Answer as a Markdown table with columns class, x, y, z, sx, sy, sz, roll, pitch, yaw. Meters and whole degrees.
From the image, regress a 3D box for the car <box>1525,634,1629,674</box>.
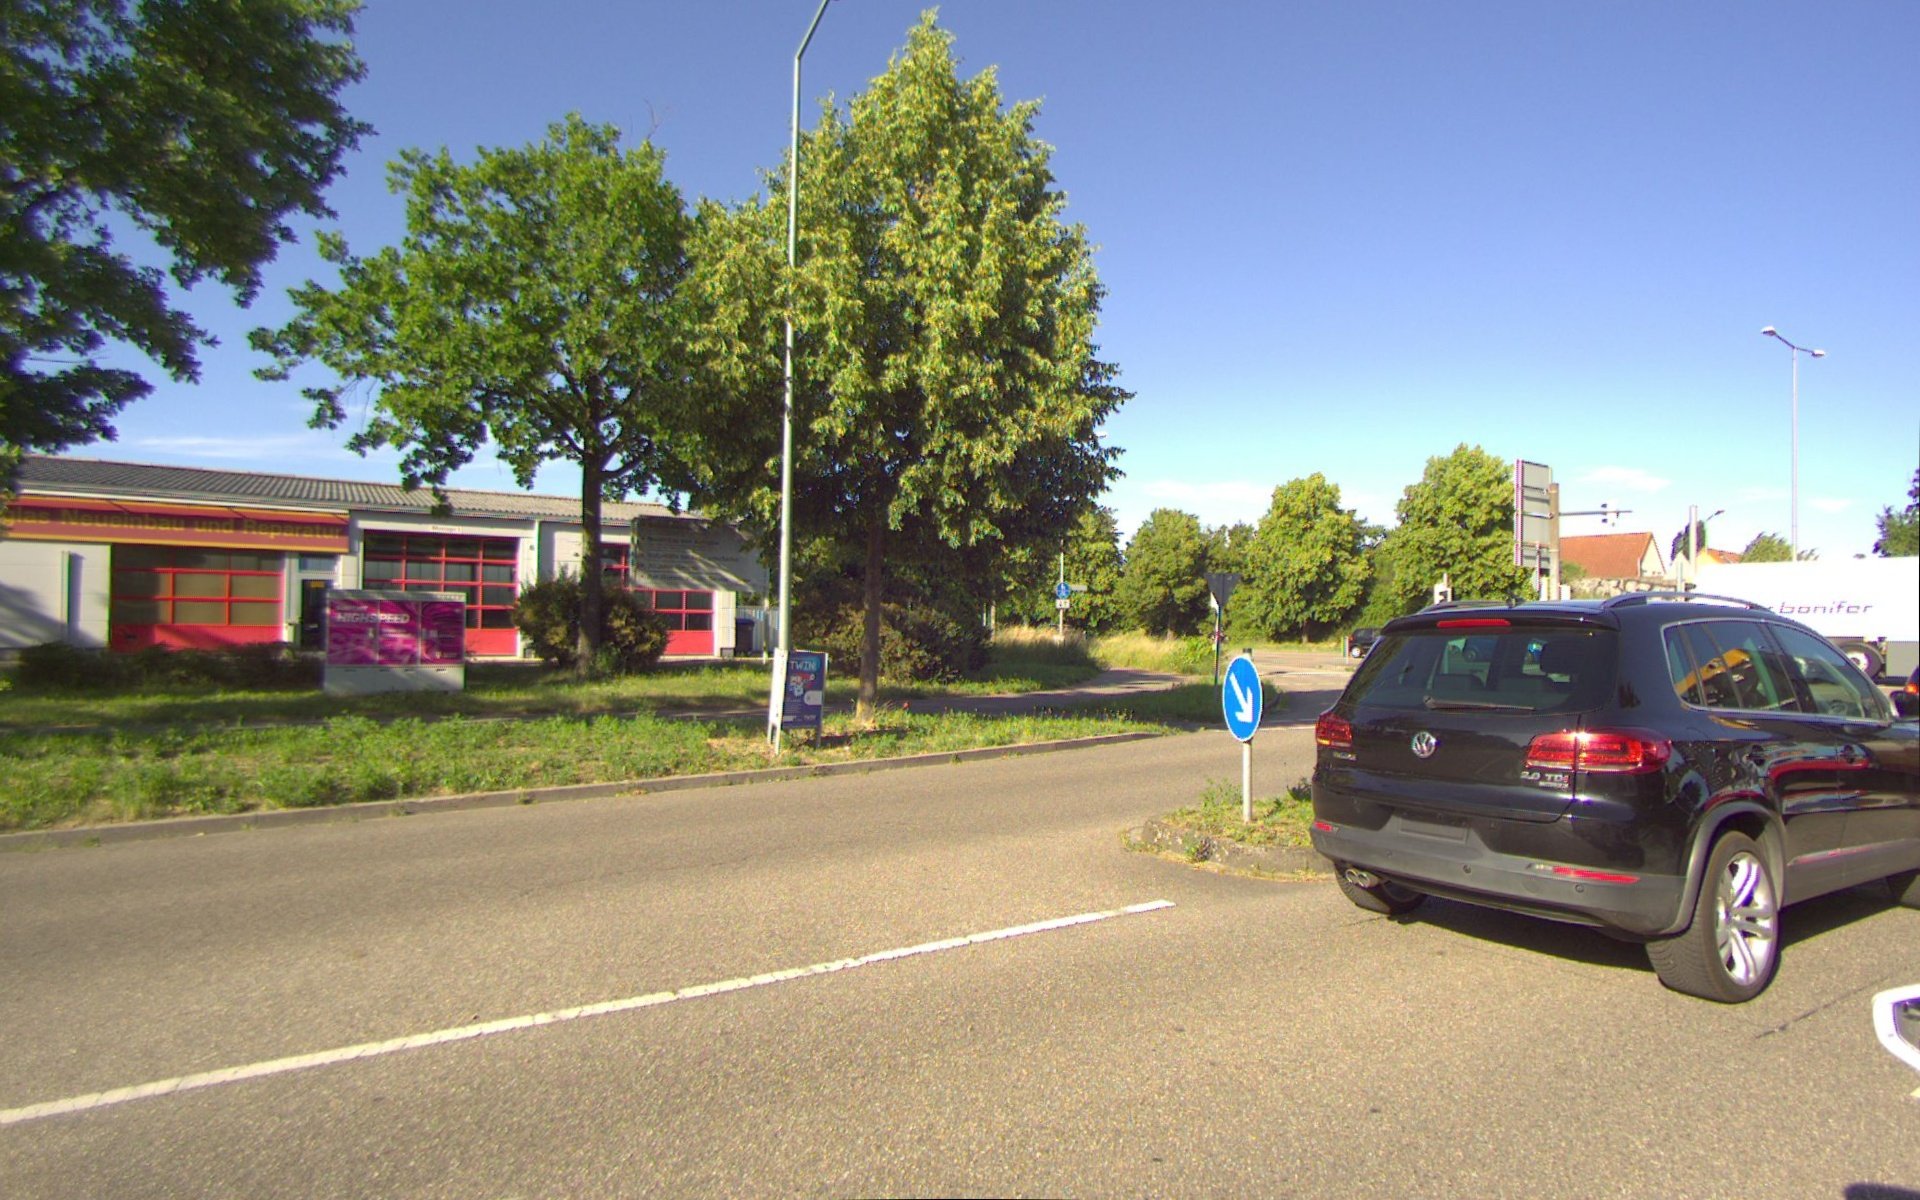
| class | x | y | z | sx | sy | sz | roll | pitch | yaw |
| --- | --- | --- | --- | --- | --- | --- | --- | --- | --- |
| car | 30.493 | 2.651 | 49.735 | 1.982 | 1.737 | 3.957 | 2 | -1 | -37 |

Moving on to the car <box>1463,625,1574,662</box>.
| class | x | y | z | sx | sy | sz | roll | pitch | yaw |
| --- | --- | --- | --- | --- | --- | --- | --- | --- | --- |
| car | 24.009 | 1.851 | 43.257 | 1.668 | 1.403 | 3.817 | 2 | -1 | -38 |

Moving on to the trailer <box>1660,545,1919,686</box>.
| class | x | y | z | sx | sy | sz | roll | pitch | yaw |
| --- | --- | --- | --- | --- | --- | --- | --- | --- | --- |
| trailer | 26.350 | 0.445 | 27.750 | 2.373 | 3.745 | 11.391 | 1 | -1 | -37 |

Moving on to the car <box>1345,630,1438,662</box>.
| class | x | y | z | sx | sy | sz | roll | pitch | yaw |
| --- | --- | --- | --- | --- | --- | --- | --- | --- | --- |
| car | 20.415 | 2.158 | 47.629 | 1.494 | 1.330 | 3.817 | 2 | -1 | -38 |

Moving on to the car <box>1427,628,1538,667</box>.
| class | x | y | z | sx | sy | sz | roll | pitch | yaw |
| --- | --- | --- | --- | --- | --- | --- | --- | --- | --- |
| car | 26.145 | 2.340 | 50.372 | 1.982 | 1.737 | 4.493 | 2 | -1 | -37 |

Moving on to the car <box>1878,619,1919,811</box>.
| class | x | y | z | sx | sy | sz | roll | pitch | yaw |
| --- | --- | --- | --- | --- | --- | --- | --- | --- | --- |
| car | 10.233 | 0.989 | 9.212 | 3.990 | 1.642 | 1.744 | 0 | -1 | -33 |

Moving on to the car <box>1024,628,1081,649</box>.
| class | x | y | z | sx | sy | sz | roll | pitch | yaw |
| --- | --- | --- | --- | --- | --- | --- | --- | --- | --- |
| car | 7.041 | 2.942 | 76.925 | 1.564 | 1.479 | 4.371 | 3 | -1 | -43 |

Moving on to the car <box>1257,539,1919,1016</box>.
| class | x | y | z | sx | sy | sz | roll | pitch | yaw |
| --- | --- | --- | --- | --- | --- | --- | --- | --- | --- |
| car | 3.676 | 0.734 | 5.393 | 3.957 | 1.695 | 1.812 | 2 | -3 | -31 |
